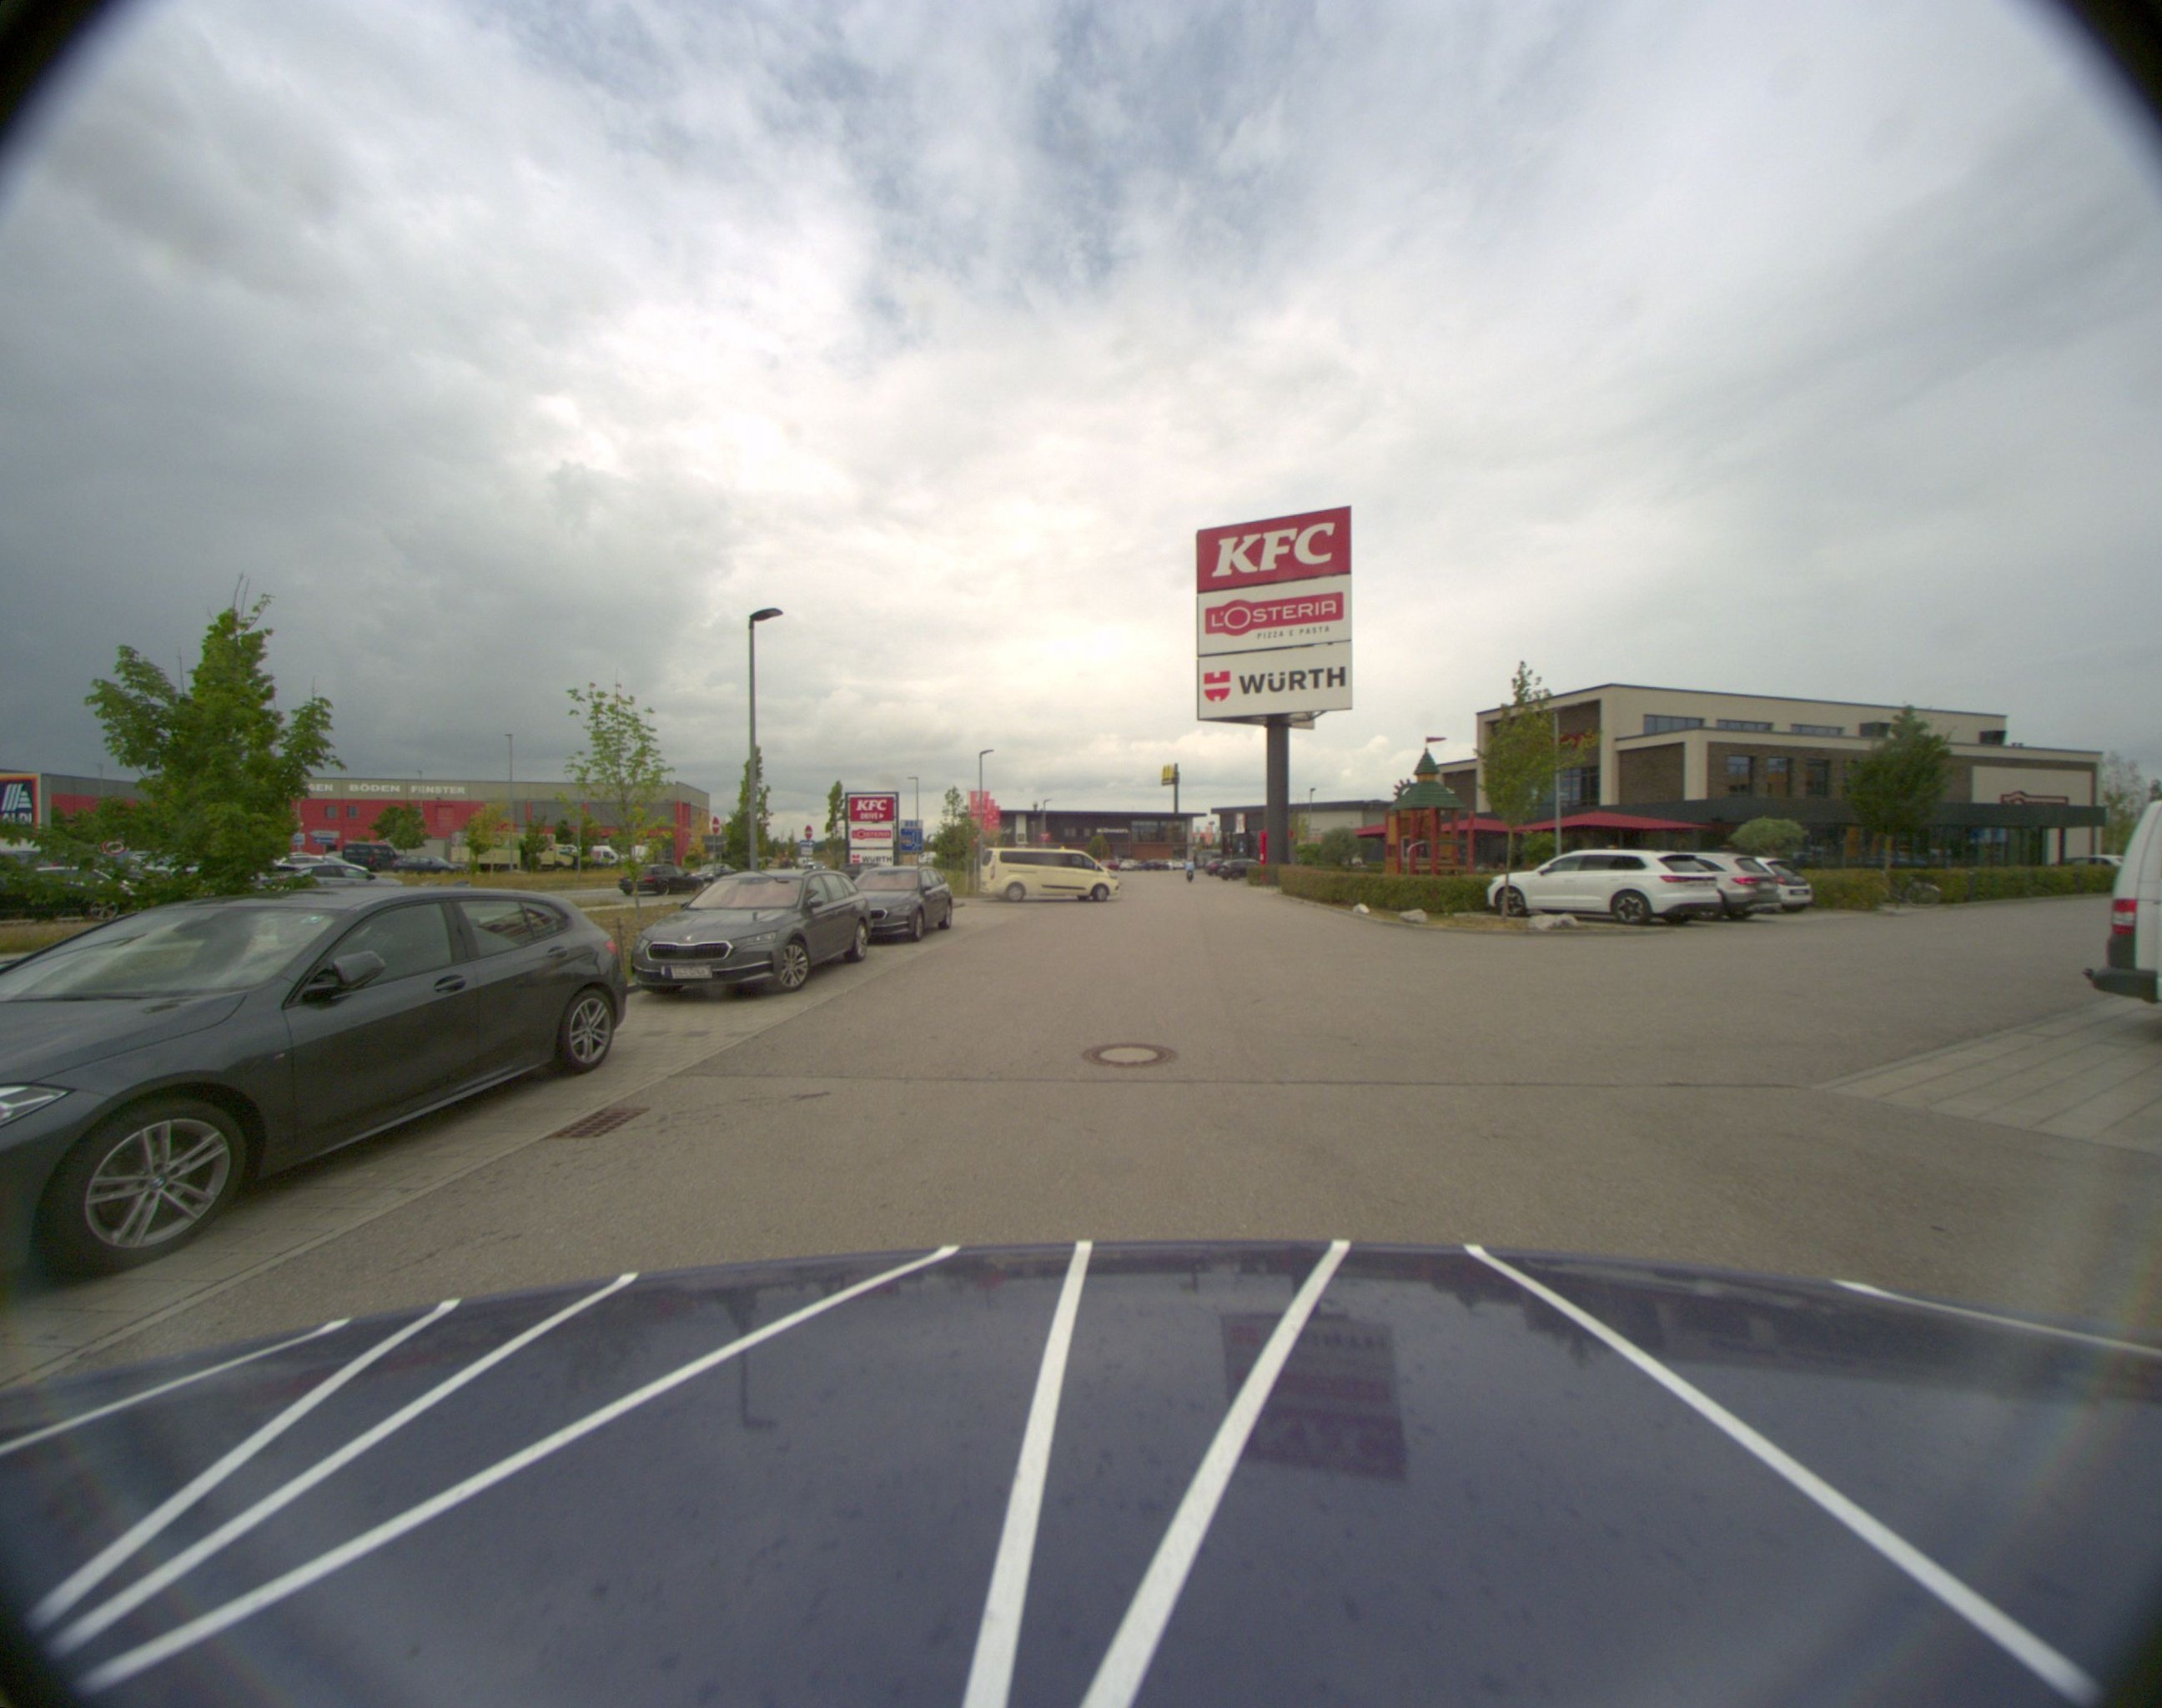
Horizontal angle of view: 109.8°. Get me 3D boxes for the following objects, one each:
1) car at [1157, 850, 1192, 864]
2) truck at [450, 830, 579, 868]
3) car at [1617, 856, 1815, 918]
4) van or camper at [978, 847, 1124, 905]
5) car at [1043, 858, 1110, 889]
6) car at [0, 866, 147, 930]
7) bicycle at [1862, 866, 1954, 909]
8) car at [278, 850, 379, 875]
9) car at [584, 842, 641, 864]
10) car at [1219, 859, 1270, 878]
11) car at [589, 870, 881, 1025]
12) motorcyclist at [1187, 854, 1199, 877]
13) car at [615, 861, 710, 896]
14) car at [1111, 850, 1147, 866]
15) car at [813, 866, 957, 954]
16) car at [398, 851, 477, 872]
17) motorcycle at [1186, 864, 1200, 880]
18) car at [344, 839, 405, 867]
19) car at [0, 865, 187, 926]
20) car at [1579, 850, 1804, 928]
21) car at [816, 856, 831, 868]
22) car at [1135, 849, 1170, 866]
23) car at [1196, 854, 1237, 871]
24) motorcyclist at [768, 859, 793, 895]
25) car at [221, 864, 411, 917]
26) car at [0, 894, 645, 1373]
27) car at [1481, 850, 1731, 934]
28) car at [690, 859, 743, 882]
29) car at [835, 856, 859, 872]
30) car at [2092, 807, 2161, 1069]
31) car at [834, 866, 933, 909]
[{"bbox_3d":[12.209,0.393,99.202,3.989,1.652,2.004,-1,1,33],"label":"car"},{"bbox_3d":[-46.194,-0.436,62.306,2.673,2.928,8.196,0,1,23],"label":"truck"},{"bbox_3d":[18.072,0.865,21.770,2.004,1.556,3.989,-1,1,-37],"label":"car"},{"bbox_3d":[-1.149,0.767,28.921,5.238,2.049,1.856,-1,0,-18],"label":"van or camper"},{"bbox_3d":[-0.223,1.032,40.749,3.439,1.534,1.685,-1,1,5],"label":"car"},{"bbox_3d":[-25.053,1.013,17.554,1.907,1.389,4.001,0,0,4],"label":"car"},{"bbox_3d":[24.940,0.999,22.947,0.695,1.212,1.797,-1,1,-33],"label":"bicycle"},{"bbox_3d":[-45.466,0.510,45.992,3.998,1.434,1.999,-1,1,-2],"label":"car"},{"bbox_3d":[-47.177,-0.104,76.628,4.441,2.110,1.997,-1,1,-16],"label":"car"},{"bbox_3d":[12.307,1.071,57.219,3.442,1.288,1.499,-1,1,-5],"label":"car"},{"bbox_3d":[-4.241,1.033,10.290,1.751,1.482,4.633,-1,0,1],"label":"car"},{"bbox_3d":[7.931,0.818,53.859,0.753,1.629,1.038,-1,1,4],"label":"motorcyclist"},{"bbox_3d":[-19.499,1.106,35.643,1.998,1.506,4.369,0,0,1],"label":"car"},{"bbox_3d":[5.968,0.516,94.635,3.989,2.002,2.004,-1,1,33],"label":"car"},{"bbox_3d":[-3.928,1.055,16.037,1.751,1.482,4.488,-1,0,2],"label":"car"},{"bbox_3d":[-45.176,0.487,53.415,3.844,1.419,1.740,0,1,-14],"label":"car"},{"bbox_3d":[7.949,1.240,53.800,0.816,1.069,2.150,0,0,4],"label":"motorcycle"},{"bbox_3d":[-58.051,-0.122,62.503,2.027,2.192,4.341,0,1,-19],"label":"car"},{"bbox_3d":[-28.610,1.110,21.453,1.756,1.472,4.057,-1,0,5],"label":"car"},{"bbox_3d":[15.200,0.783,19.169,1.913,1.696,3.992,-1,0,-24],"label":"car"},{"bbox_3d":[-38.959,1.205,114.792,2.002,1.667,3.993,0,0,-20],"label":"car"},{"bbox_3d":[9.107,0.456,96.561,3.989,2.002,2.004,-1,1,33],"label":"car"},{"bbox_3d":[15.248,0.914,85.643,4.000,1.827,1.998,-1,1,-10],"label":"car"},{"bbox_3d":[-10.915,0.828,27.576,0.673,1.308,0.575,0,1,-2],"label":"motorcyclist"},{"bbox_3d":[-24.123,1.099,24.207,1.821,1.486,4.002,0,0,5],"label":"car"},{"bbox_3d":[-4.526,1.056,4.148,1.751,1.407,4.305,-1,0,0],"label":"car"},{"bbox_3d":[12.364,0.800,18.311,1.760,1.738,4.732,-1,0,-24],"label":"car"},{"bbox_3d":[-26.439,1.159,55.218,1.757,1.472,4.532,-1,0,-2],"label":"car"},{"bbox_3d":[-27.315,1.112,88.816,1.907,1.803,3.997,0,0,-7],"label":"car"},{"bbox_3d":[10.096,0.619,4.474,1.940,2.002,4.748,-1,1,-29],"label":"car"},{"bbox_3d":[-7.131,1.197,27.600,3.122,1.438,1.507,1,1,5],"label":"car"}]
